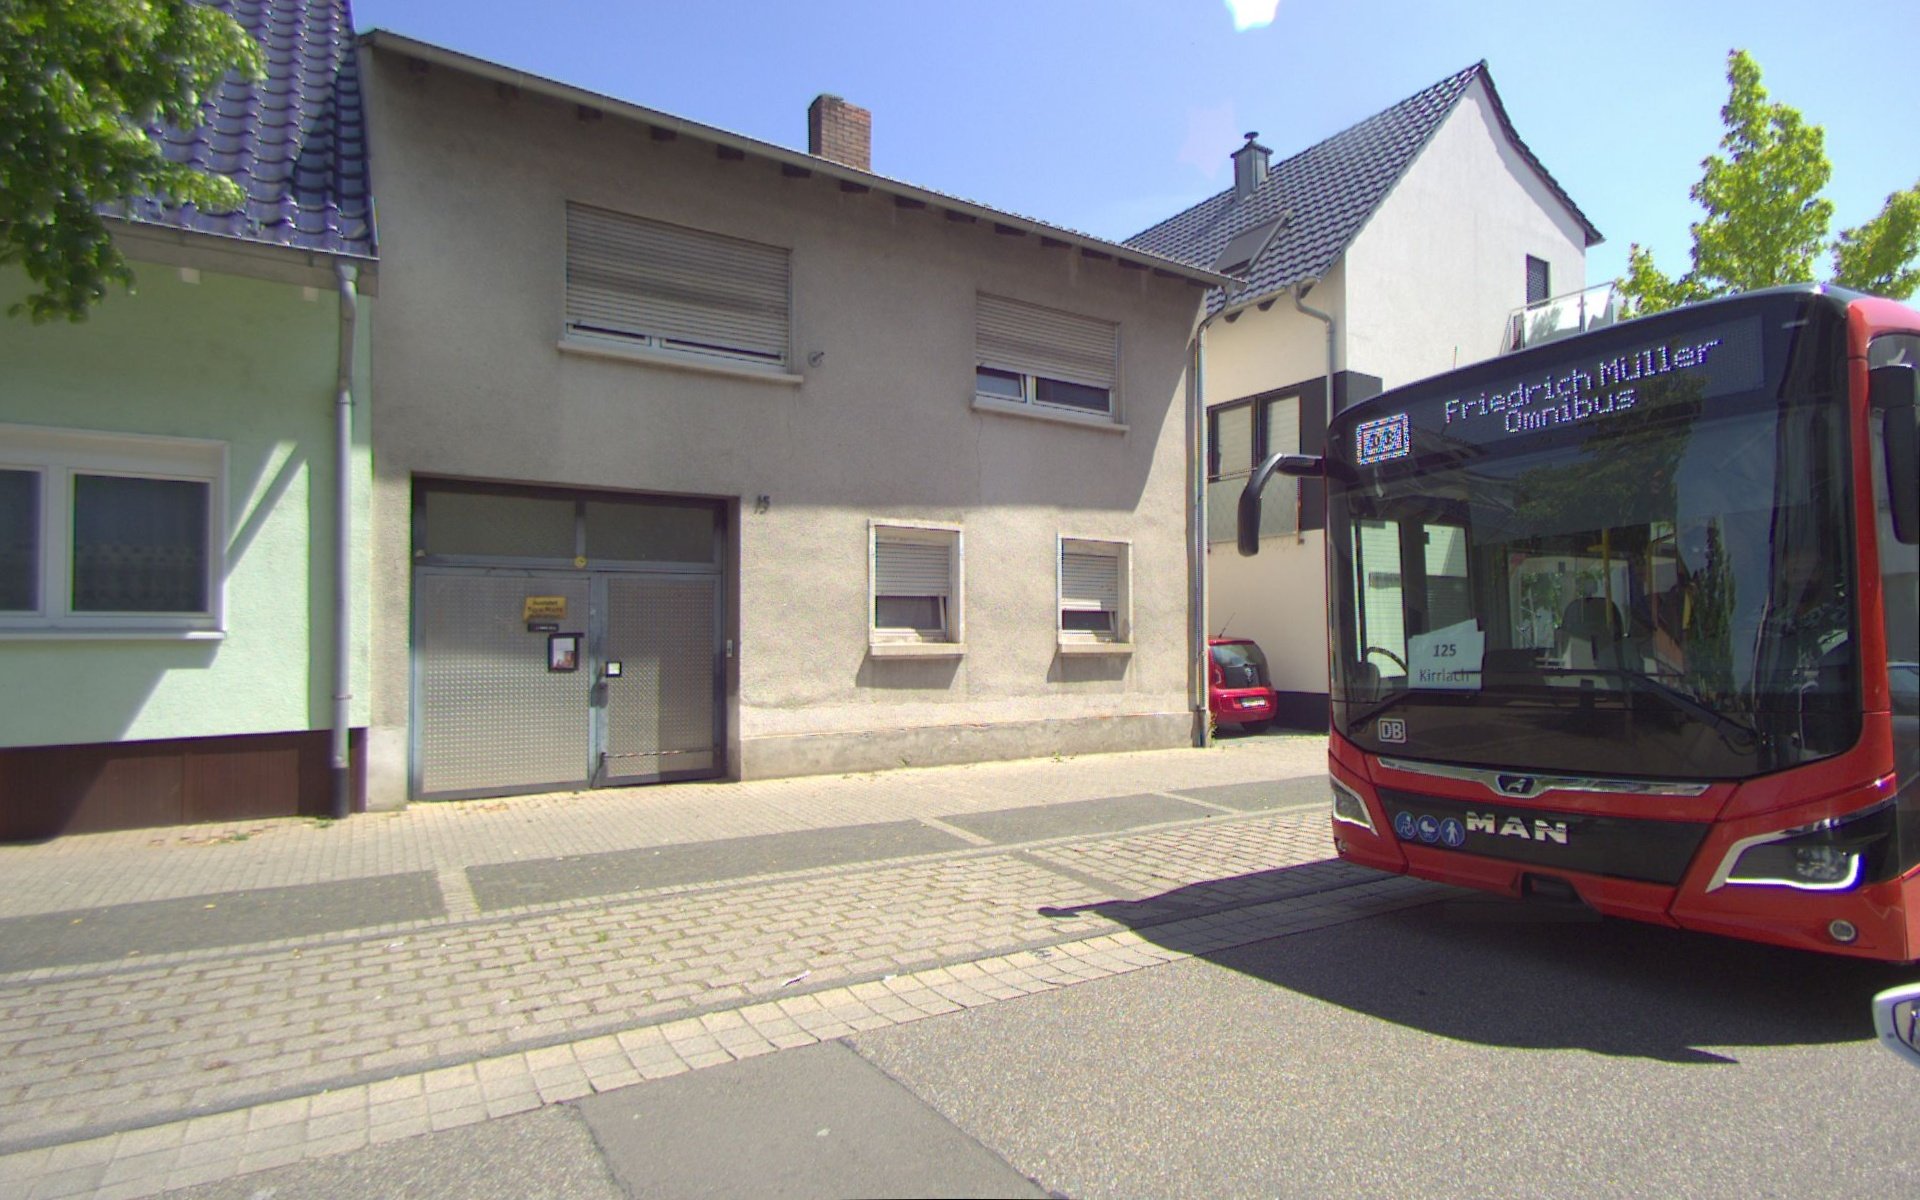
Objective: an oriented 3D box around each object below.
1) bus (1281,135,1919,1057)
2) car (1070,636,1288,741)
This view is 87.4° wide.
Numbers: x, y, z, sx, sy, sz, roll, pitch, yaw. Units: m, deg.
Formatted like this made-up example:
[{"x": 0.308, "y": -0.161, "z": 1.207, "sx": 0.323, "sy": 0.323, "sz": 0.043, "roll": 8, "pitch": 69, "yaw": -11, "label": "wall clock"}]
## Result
[{"x": 9.960, "y": 0.174, "z": 9.309, "sx": 17.610, "sy": 3.165, "sz": 2.654, "roll": 1, "pitch": -2, "yaw": -32, "label": "bus"}, {"x": 3.347, "y": 1.298, "z": 15.755, "sx": 1.572, "sy": 1.462, "sz": 3.093, "roll": 1, "pitch": -2, "yaw": -36, "label": "car"}]
